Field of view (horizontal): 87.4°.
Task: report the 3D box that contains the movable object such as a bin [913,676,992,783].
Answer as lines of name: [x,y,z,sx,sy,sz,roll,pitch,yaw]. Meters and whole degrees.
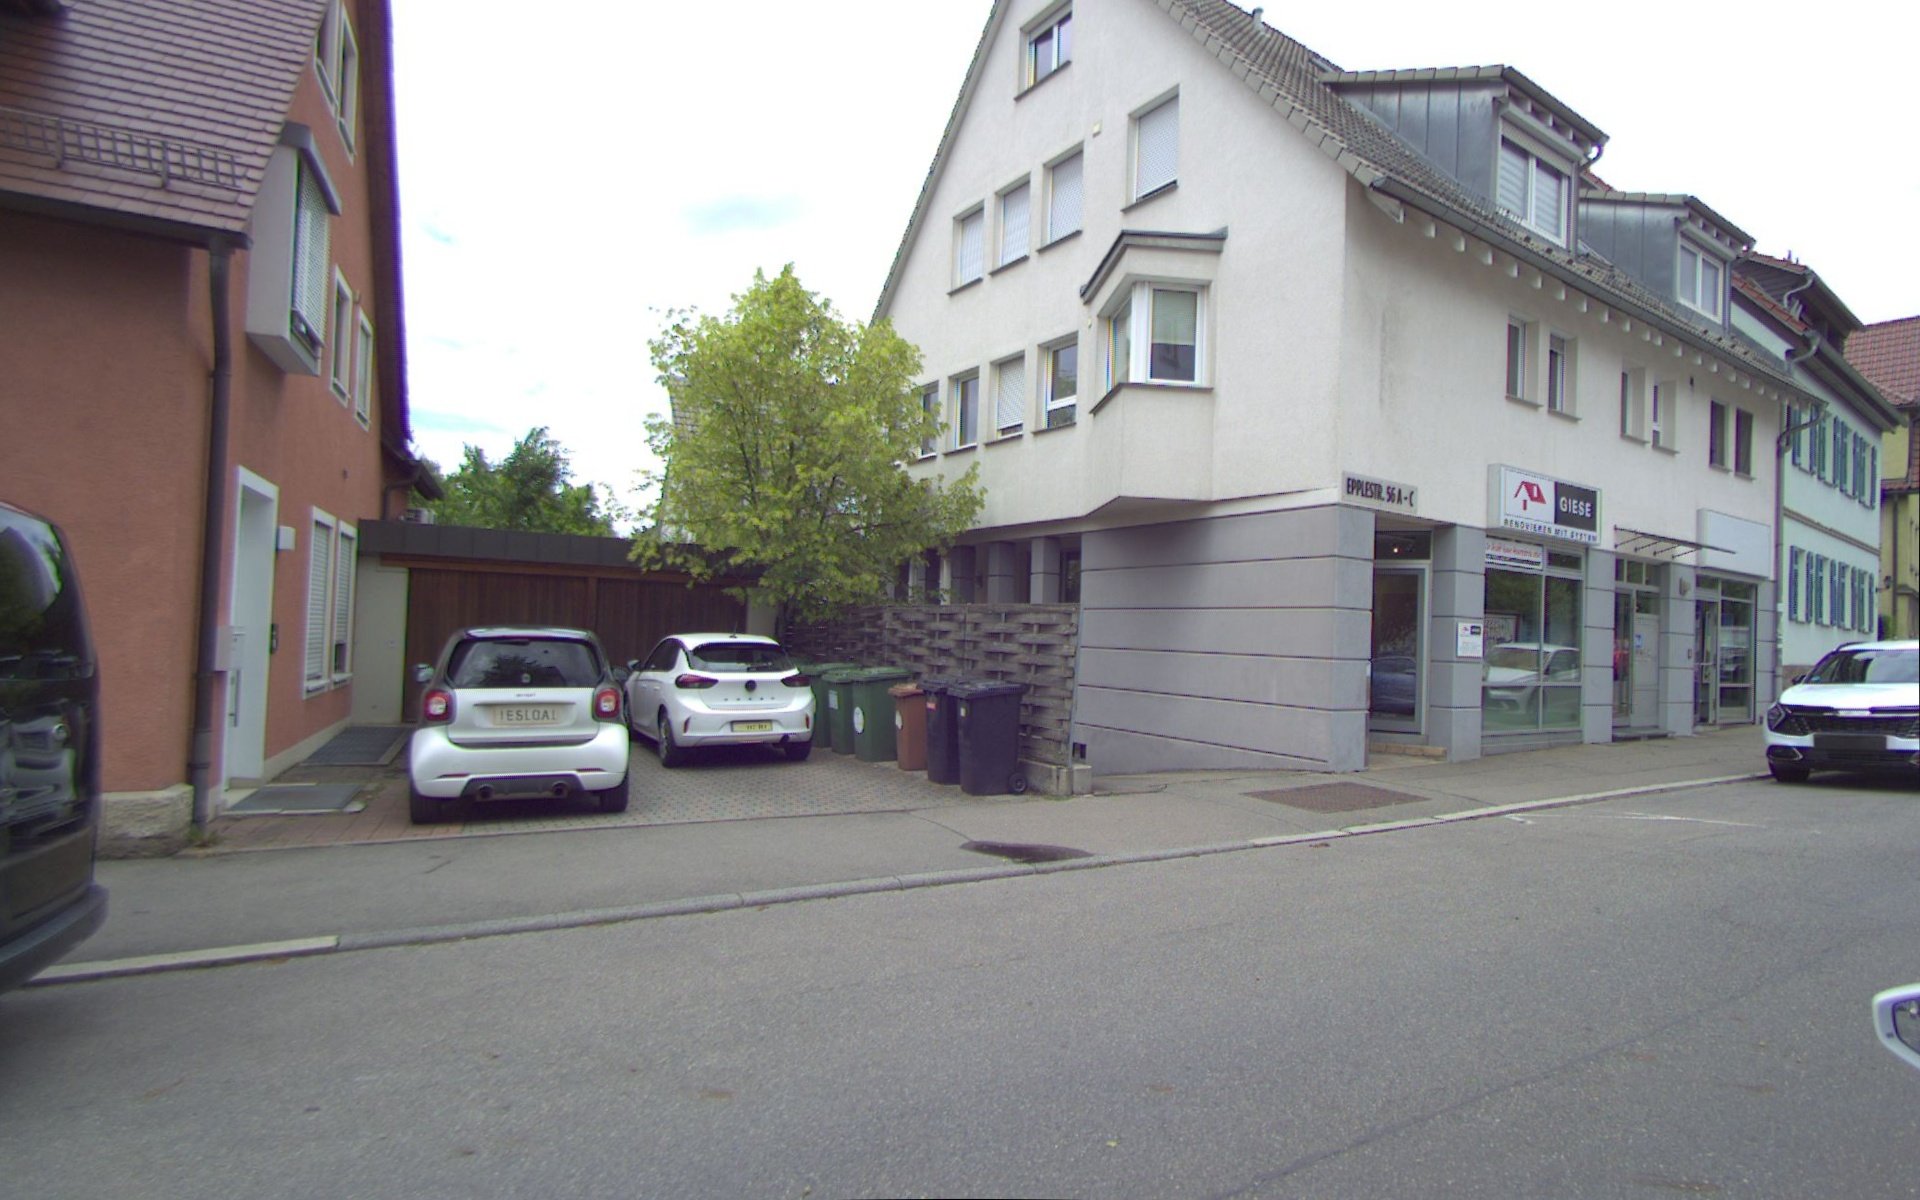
movable object such as a bin: [-0.077,1.303,10.239,0.626,0.984,0.532,0,1,-26]

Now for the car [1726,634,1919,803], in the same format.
car: [11.328,1.285,12.041,4.808,1.655,1.985,2,-1,-34]

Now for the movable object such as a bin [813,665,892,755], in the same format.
movable object such as a bin: [-1.334,1.348,12.474,0.786,1.031,0.662,0,-1,-30]

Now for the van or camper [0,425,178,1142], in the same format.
van or camper: [-5.257,0.569,2.571,4.794,2.032,2.067,0,-2,-27]

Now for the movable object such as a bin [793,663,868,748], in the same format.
movable object such as a bin: [-1.700,1.355,13.121,0.786,1.031,0.662,0,-1,-30]

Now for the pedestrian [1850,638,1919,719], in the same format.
pedestrian: [18.397,1.546,19.991,0.967,1.519,0.800,3,0,-37]

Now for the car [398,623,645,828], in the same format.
car: [-3.896,0.984,9.081,1.718,1.494,2.823,2,-1,-23]

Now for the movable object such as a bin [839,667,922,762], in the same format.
movable object such as a bin: [-0.945,1.331,11.893,0.786,1.031,0.662,0,-1,-30]

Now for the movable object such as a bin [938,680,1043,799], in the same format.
movable object such as a bin: [0.291,1.318,9.710,0.786,1.031,0.662,0,-1,-30]

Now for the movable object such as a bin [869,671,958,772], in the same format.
movable object such as a bin: [-0.528,1.329,11.208,0.786,1.031,0.662,0,-1,-30]

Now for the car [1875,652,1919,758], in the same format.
car: [15.363,1.550,14.861,3.881,1.455,1.984,2,-1,-36]

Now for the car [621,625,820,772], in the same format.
car: [-3.165,1.096,12.658,1.718,1.494,3.976,2,-2,-24]

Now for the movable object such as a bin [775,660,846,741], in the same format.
movable object such as a bin: [-2.054,1.361,13.775,0.786,1.031,0.662,0,-1,-30]

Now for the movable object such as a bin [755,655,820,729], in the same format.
movable object such as a bin: [-2.559,1.347,14.898,0.786,1.031,0.662,0,-1,-30]
